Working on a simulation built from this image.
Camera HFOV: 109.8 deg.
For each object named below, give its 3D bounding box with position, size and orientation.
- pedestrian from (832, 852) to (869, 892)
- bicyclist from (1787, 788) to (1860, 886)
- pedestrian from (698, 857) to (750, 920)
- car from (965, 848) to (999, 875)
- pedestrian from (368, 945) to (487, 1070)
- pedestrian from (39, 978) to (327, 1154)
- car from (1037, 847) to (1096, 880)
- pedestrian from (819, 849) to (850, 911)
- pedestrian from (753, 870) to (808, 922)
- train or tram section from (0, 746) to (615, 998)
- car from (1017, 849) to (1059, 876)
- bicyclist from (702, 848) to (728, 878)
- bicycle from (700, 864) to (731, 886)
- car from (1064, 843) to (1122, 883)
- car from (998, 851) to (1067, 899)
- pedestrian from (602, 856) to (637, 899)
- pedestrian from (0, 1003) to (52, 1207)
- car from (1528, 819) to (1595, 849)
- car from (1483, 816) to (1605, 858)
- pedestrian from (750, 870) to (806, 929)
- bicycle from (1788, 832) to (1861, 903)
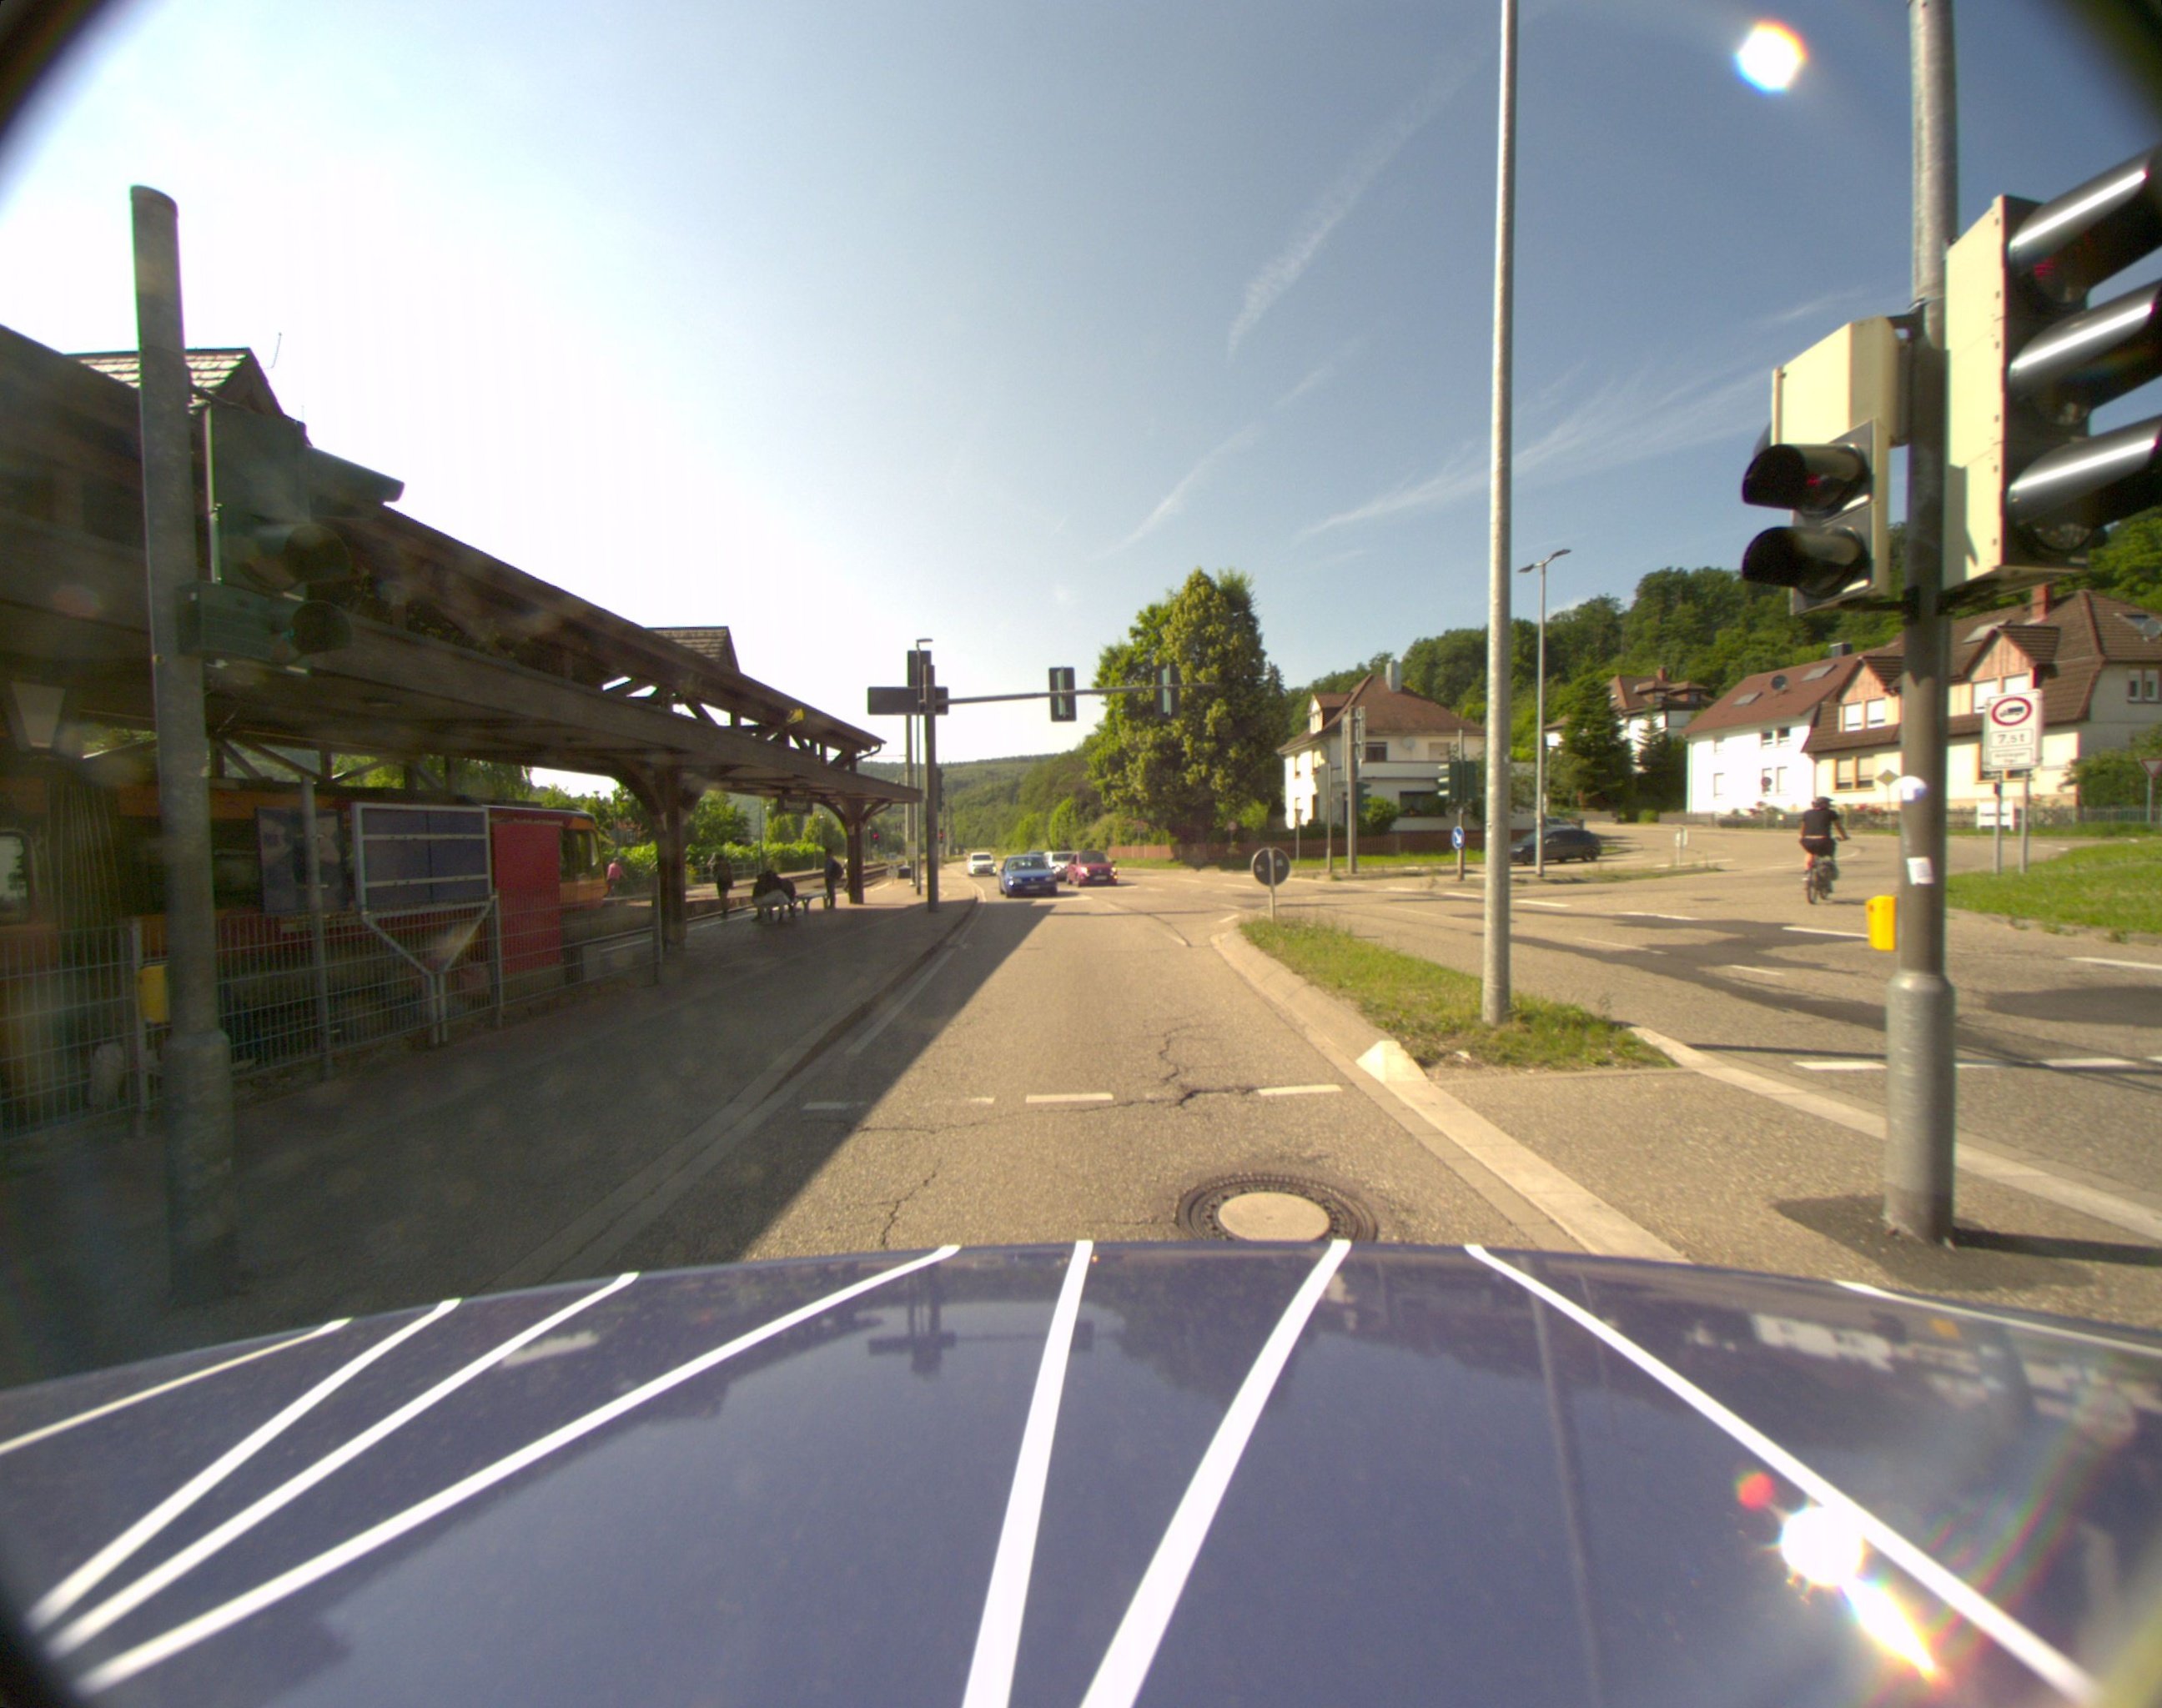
[{"bbox_3d":[-10.444,0.824,34.486,1.249,1.726,0.917,-3,0,10],"label":"pedestrian"},{"bbox_3d":[13.468,-0.298,13.773,0.995,1.681,0.805,-3,0,-41],"label":"bicyclist"},{"bbox_3d":[-8.998,0.856,19.186,0.863,1.538,0.922,-1,0,-1],"label":"pedestrian"},{"bbox_3d":[-6.328,0.468,48.719,2.000,1.576,3.997,-3,0,-7],"label":"car"},{"bbox_3d":[-5.595,1.302,6.526,0.619,0.960,0.406,-3,0,-2],"label":"pedestrian"},{"bbox_3d":[-5.707,1.318,4.898,0.847,0.869,0.808,-3,0,-2],"label":"pedestrian"},{"bbox_3d":[-0.808,0.477,38.192,1.981,1.495,4.746,-2,0,-12],"label":"car"},{"bbox_3d":[-6.788,0.697,20.943,0.659,1.682,0.738,-1,1,-9],"label":"pedestrian"},{"bbox_3d":[-7.202,0.996,18.280,1.009,1.153,0.948,-2,1,-9],"label":"pedestrian"},{"bbox_3d":[-15.891,0.214,16.403,2.863,3.345,14.350,-2,1,-1],"label":"train or tram section"},{"bbox_3d":[-2.716,0.530,47.255,1.981,1.495,3.983,-2,0,-12],"label":"car"},{"bbox_3d":[-21.469,0.528,44.585,1.010,1.716,0.865,-3,0,-5],"label":"bicyclist"},{"bbox_3d":[-21.434,1.224,44.624,0.873,1.246,2.294,-3,0,-5],"label":"bicycle"},{"bbox_3d":[0.434,0.359,32.239,1.662,1.525,3.951,-2,0,-11],"label":"car"},{"bbox_3d":[-1.787,0.652,26.407,1.867,1.474,4.297,-1,1,-11],"label":"car"},{"bbox_3d":[-18.654,0.955,30.727,0.901,1.674,0.824,-3,0,31],"label":"pedestrian"},{"bbox_3d":[-5.744,1.279,3.560,0.744,0.976,0.769,-3,0,-2],"label":"pedestrian"},{"bbox_3d":[30.246,-1.213,47.986,1.938,1.627,4.002,-3,0,6],"label":"car"},{"bbox_3d":[19.309,-0.708,31.774,4.001,1.499,1.998,-3,0,-11],"label":"car"},{"bbox_3d":[-6.802,1.010,17.092,0.994,1.228,0.596,-3,0,-9],"label":"pedestrian"},{"bbox_3d":[13.491,0.224,13.767,2.003,1.155,0.733,-3,0,-40],"label":"bicycle"}]
